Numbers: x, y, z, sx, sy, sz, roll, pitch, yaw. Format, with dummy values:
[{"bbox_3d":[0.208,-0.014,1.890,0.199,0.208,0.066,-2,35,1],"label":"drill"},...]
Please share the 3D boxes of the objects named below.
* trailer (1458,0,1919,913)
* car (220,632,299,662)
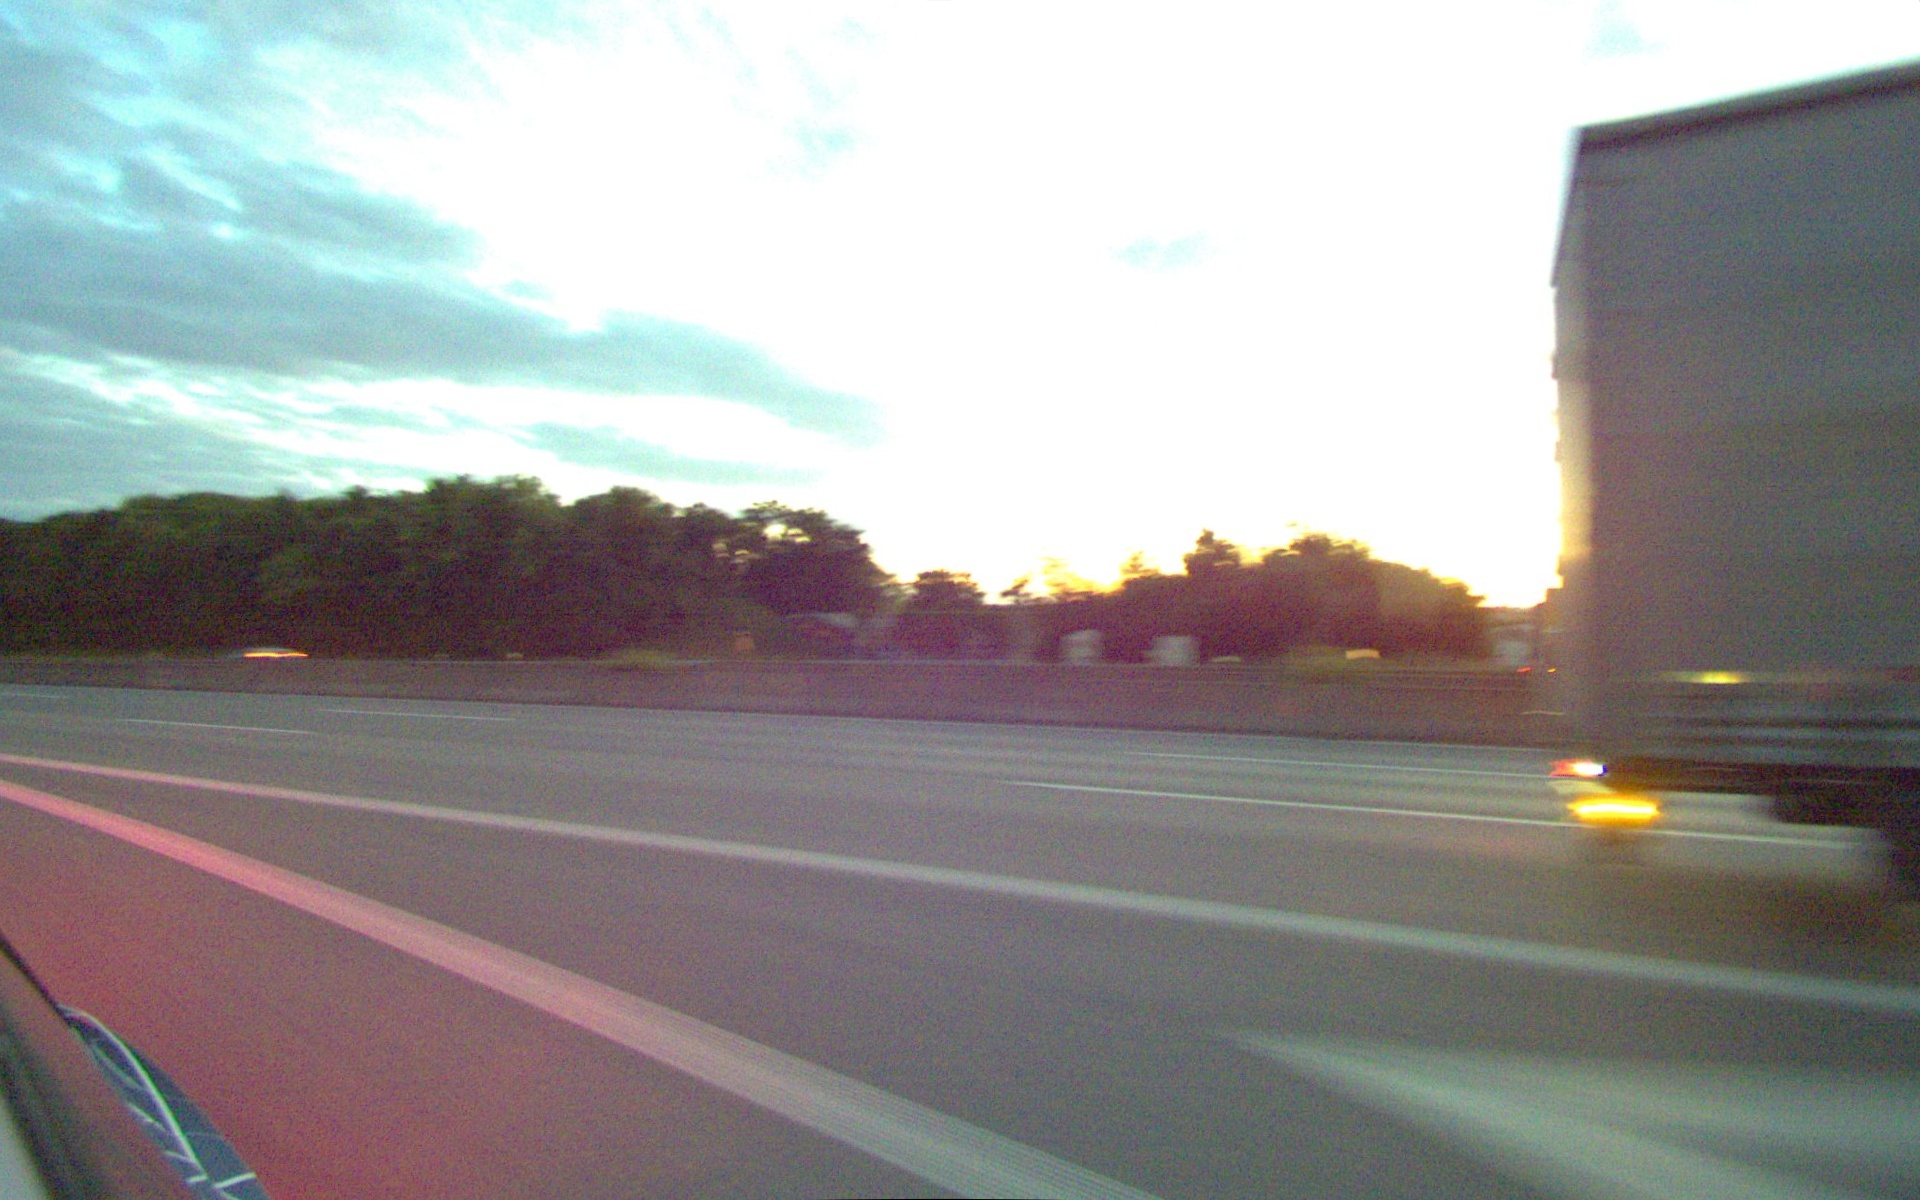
[{"bbox_3d":[9.637,-0.789,2.723,14.749,3.945,2.756,-2,-3,28],"label":"trailer"},{"bbox_3d":[-38.092,2.548,55.040,3.981,1.560,1.981,-2,-1,28],"label":"car"}]
